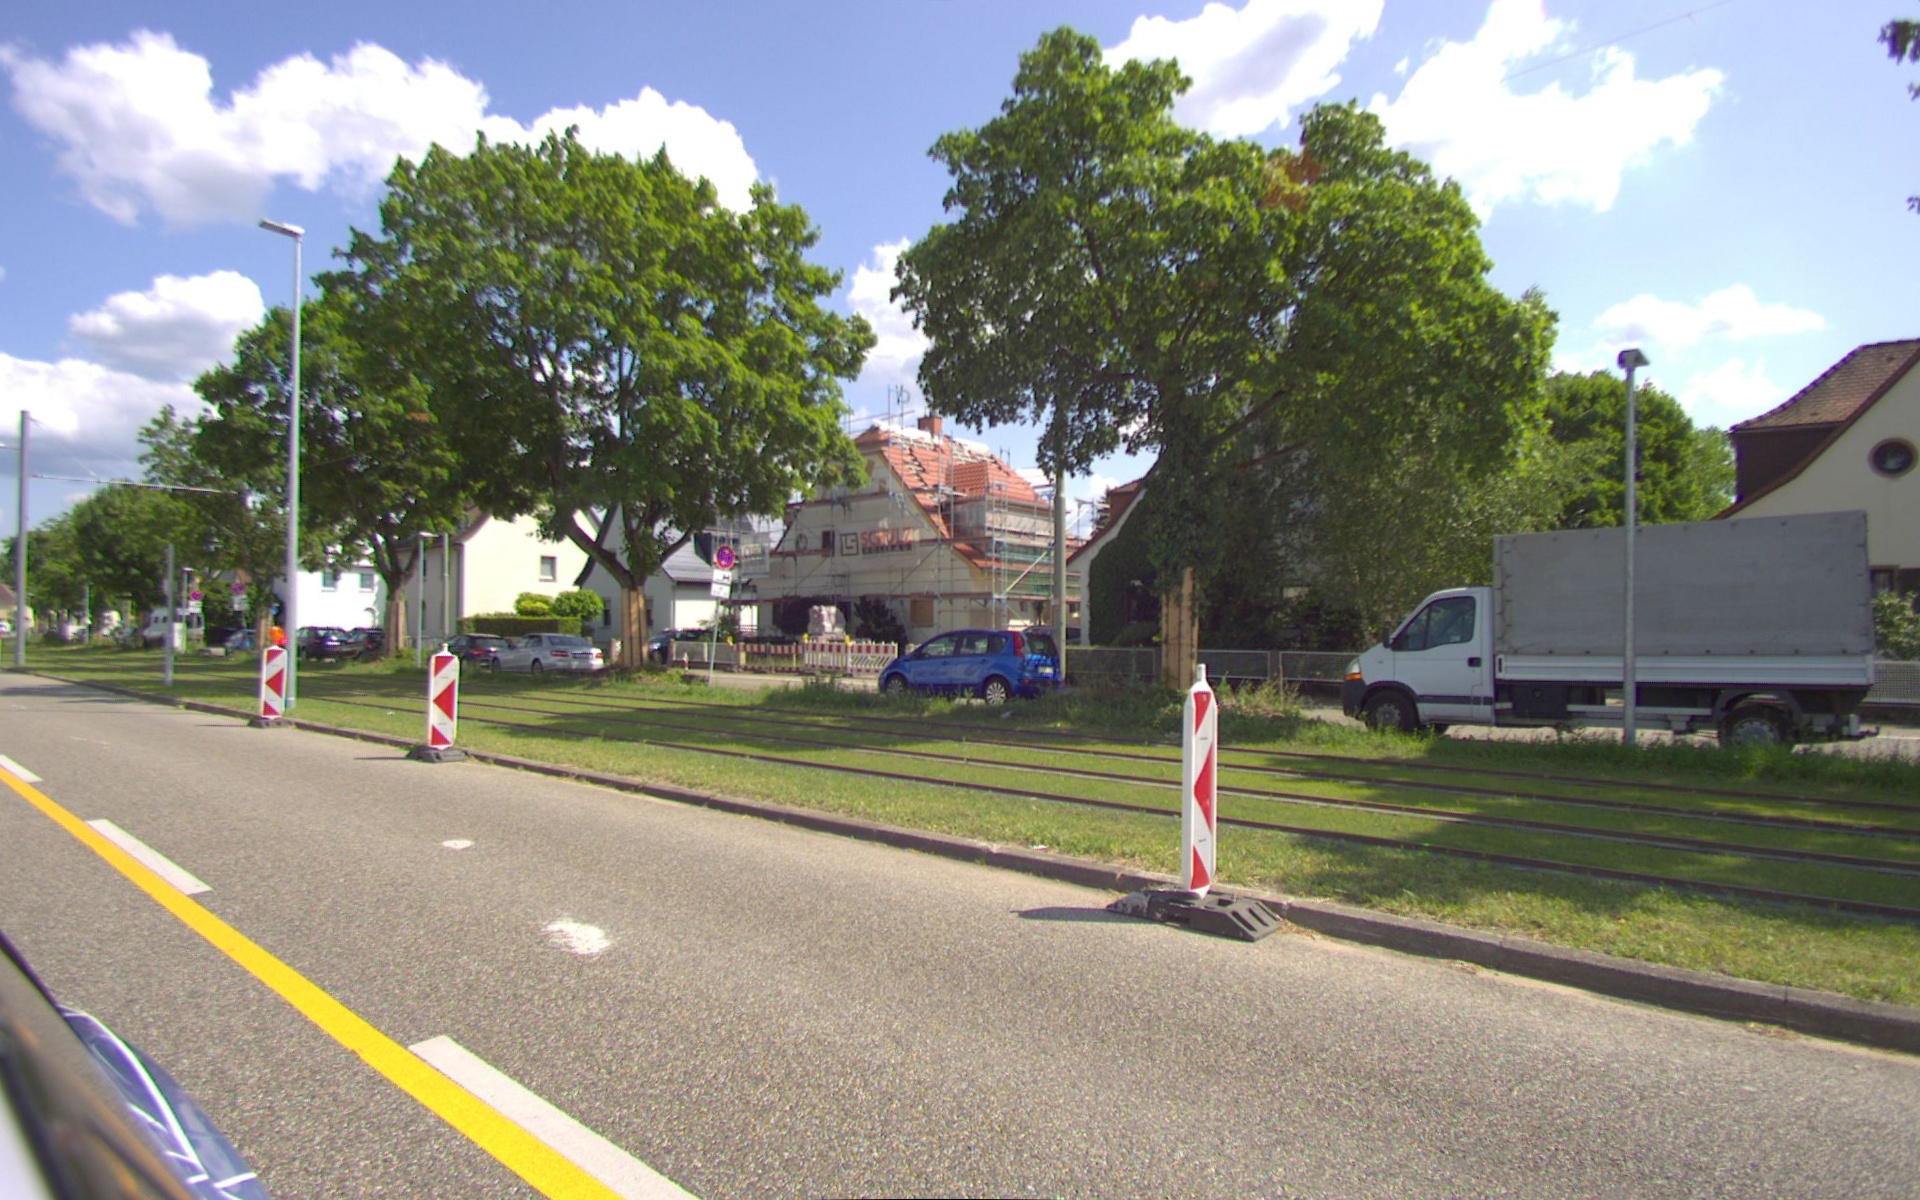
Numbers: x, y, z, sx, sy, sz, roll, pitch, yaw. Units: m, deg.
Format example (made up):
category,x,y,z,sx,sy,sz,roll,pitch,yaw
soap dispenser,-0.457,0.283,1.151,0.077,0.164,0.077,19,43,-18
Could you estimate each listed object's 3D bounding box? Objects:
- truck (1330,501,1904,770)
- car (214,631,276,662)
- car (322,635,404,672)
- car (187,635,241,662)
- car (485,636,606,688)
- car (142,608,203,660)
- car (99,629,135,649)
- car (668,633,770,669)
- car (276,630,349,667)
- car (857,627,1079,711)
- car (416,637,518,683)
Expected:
category,x,y,z,sx,sy,sz,roll,pitch,yaw
truck,8.294,0.461,13.398,5.971,2.802,2.242,-2,-3,41
car,-37.501,2.437,53.042,4.403,1.497,1.680,-3,-3,41
car,-25.186,2.262,42.644,4.403,1.497,1.680,-3,-3,41
car,-44.484,2.885,60.322,4.403,1.497,1.680,-3,-3,41
car,-13.105,1.939,31.832,4.520,1.497,1.765,-4,-3,42
car,-49.524,2.172,63.599,5.080,3.061,2.108,-3,-3,41
car,-69.114,3.218,82.912,4.404,1.497,1.679,-4,-3,42
car,-10.933,2.302,46.205,1.702,1.497,4.345,-3,-3,41
car,-29.501,2.233,46.067,4.403,1.584,1.680,-3,-3,41
car,0.066,1.359,20.282,4.403,1.497,1.680,-3,-3,41
car,-17.527,2.127,35.887,4.403,1.497,1.680,-3,-3,41
